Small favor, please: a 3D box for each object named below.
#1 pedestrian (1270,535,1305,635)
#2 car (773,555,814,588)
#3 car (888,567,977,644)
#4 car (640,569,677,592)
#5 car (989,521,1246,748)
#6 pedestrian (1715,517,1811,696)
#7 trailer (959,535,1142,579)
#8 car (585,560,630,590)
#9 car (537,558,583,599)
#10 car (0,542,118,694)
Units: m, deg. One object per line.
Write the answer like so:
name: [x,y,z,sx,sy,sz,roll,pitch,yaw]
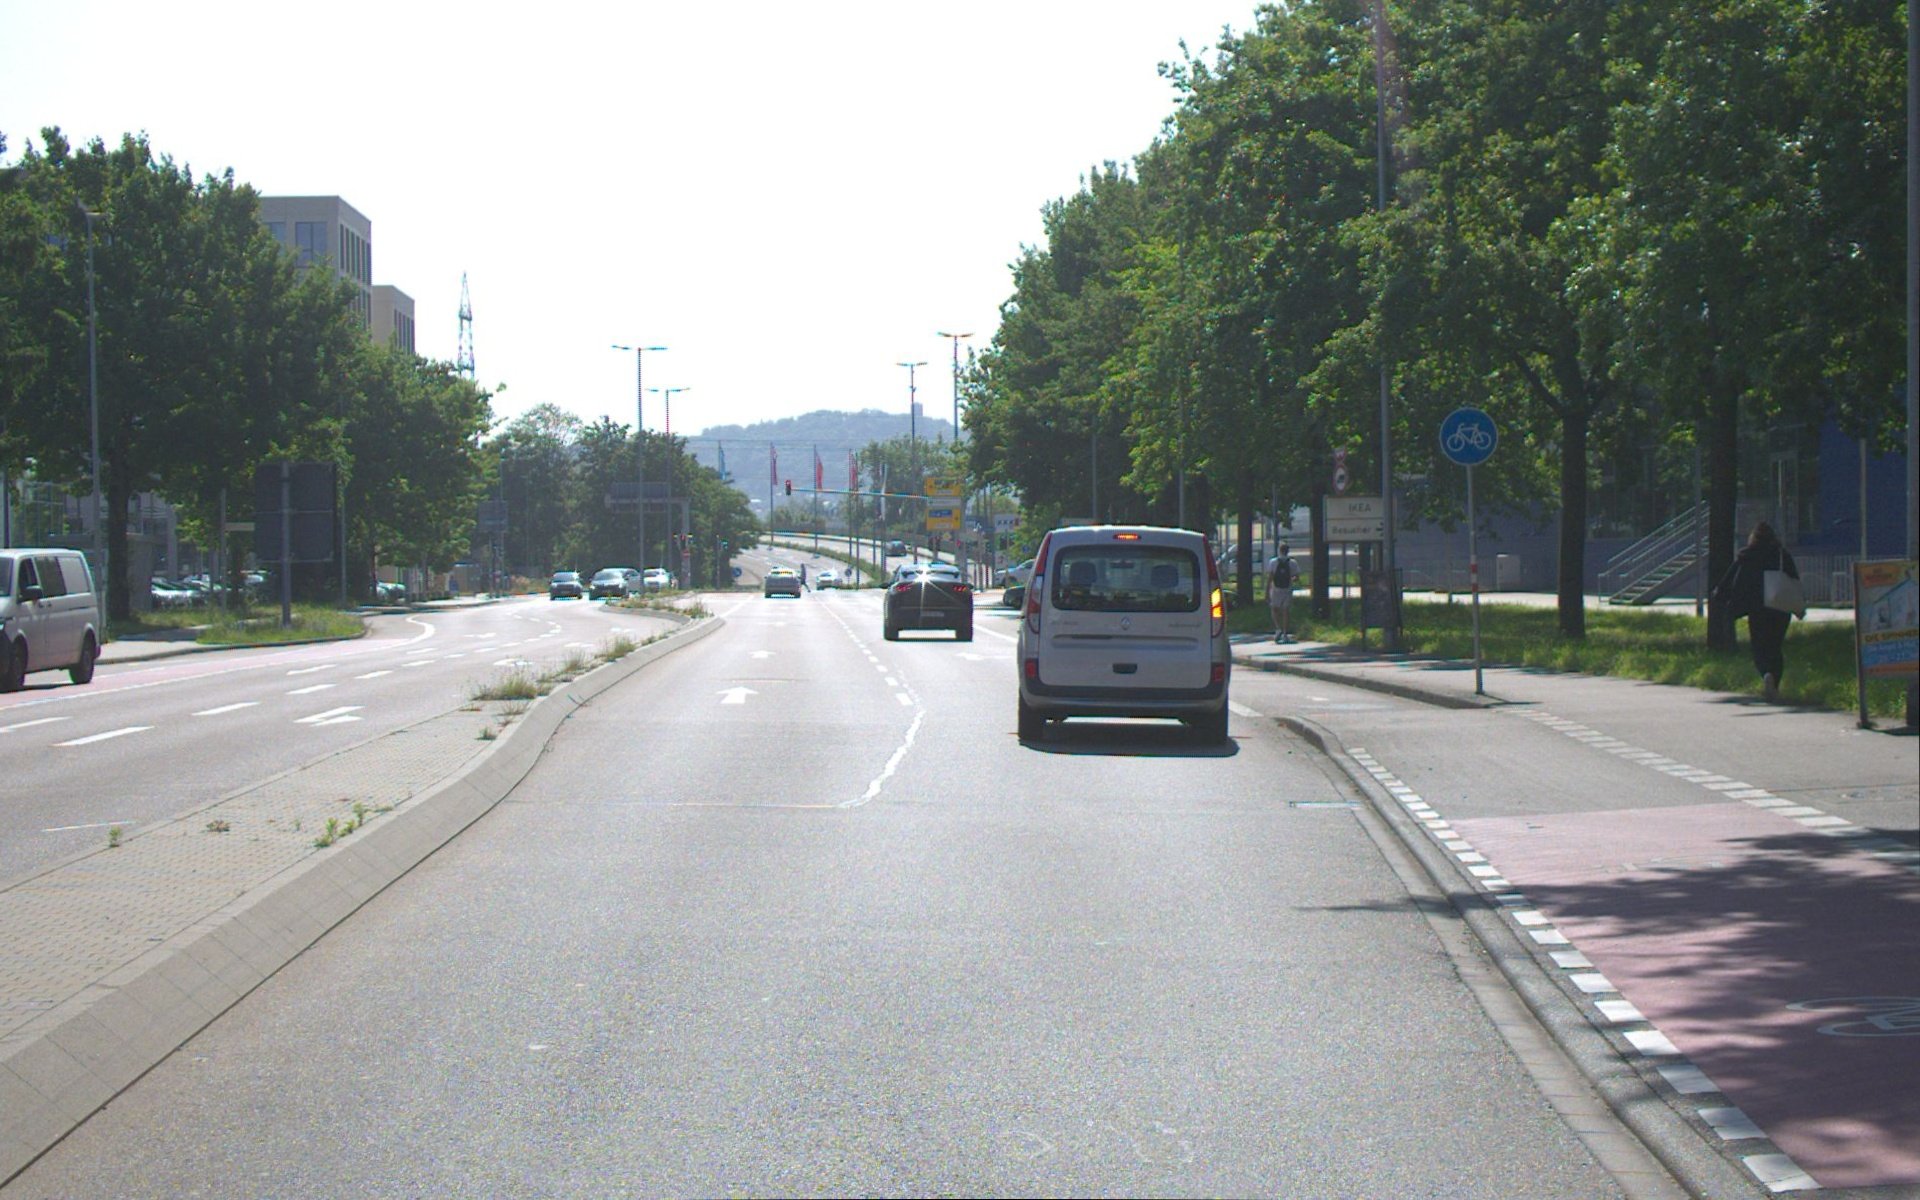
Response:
pedestrian: [6.070,-0.280,63.754,0.535,1.835,0.728,-1,0,-2]
car: [-8.686,-1.512,179.444,1.993,1.678,4.000,-1,1,-1]
car: [-0.579,0.098,75.866,1.807,1.634,4.459,-1,1,1]
car: [-19.363,-1.267,220.897,1.816,1.459,4.000,-1,0,2]
car: [1.291,0.260,29.883,1.905,1.822,4.180,-1,0,-2]
pedestrian: [7.284,0.052,31.218,0.647,1.598,0.847,-1,0,-1]
trailer: [5.927,-2.813,225.509,11.870,2.460,2.000,2,2,-1]
car: [-17.893,-1.270,174.672,1.841,1.458,5.000,-3,1,-2]
car: [-21.067,-1.145,181.208,1.993,2.006,4.000,2,2,-1]
car: [-13.558,0.215,48.112,1.994,2.007,5.346,-1,1,2]
